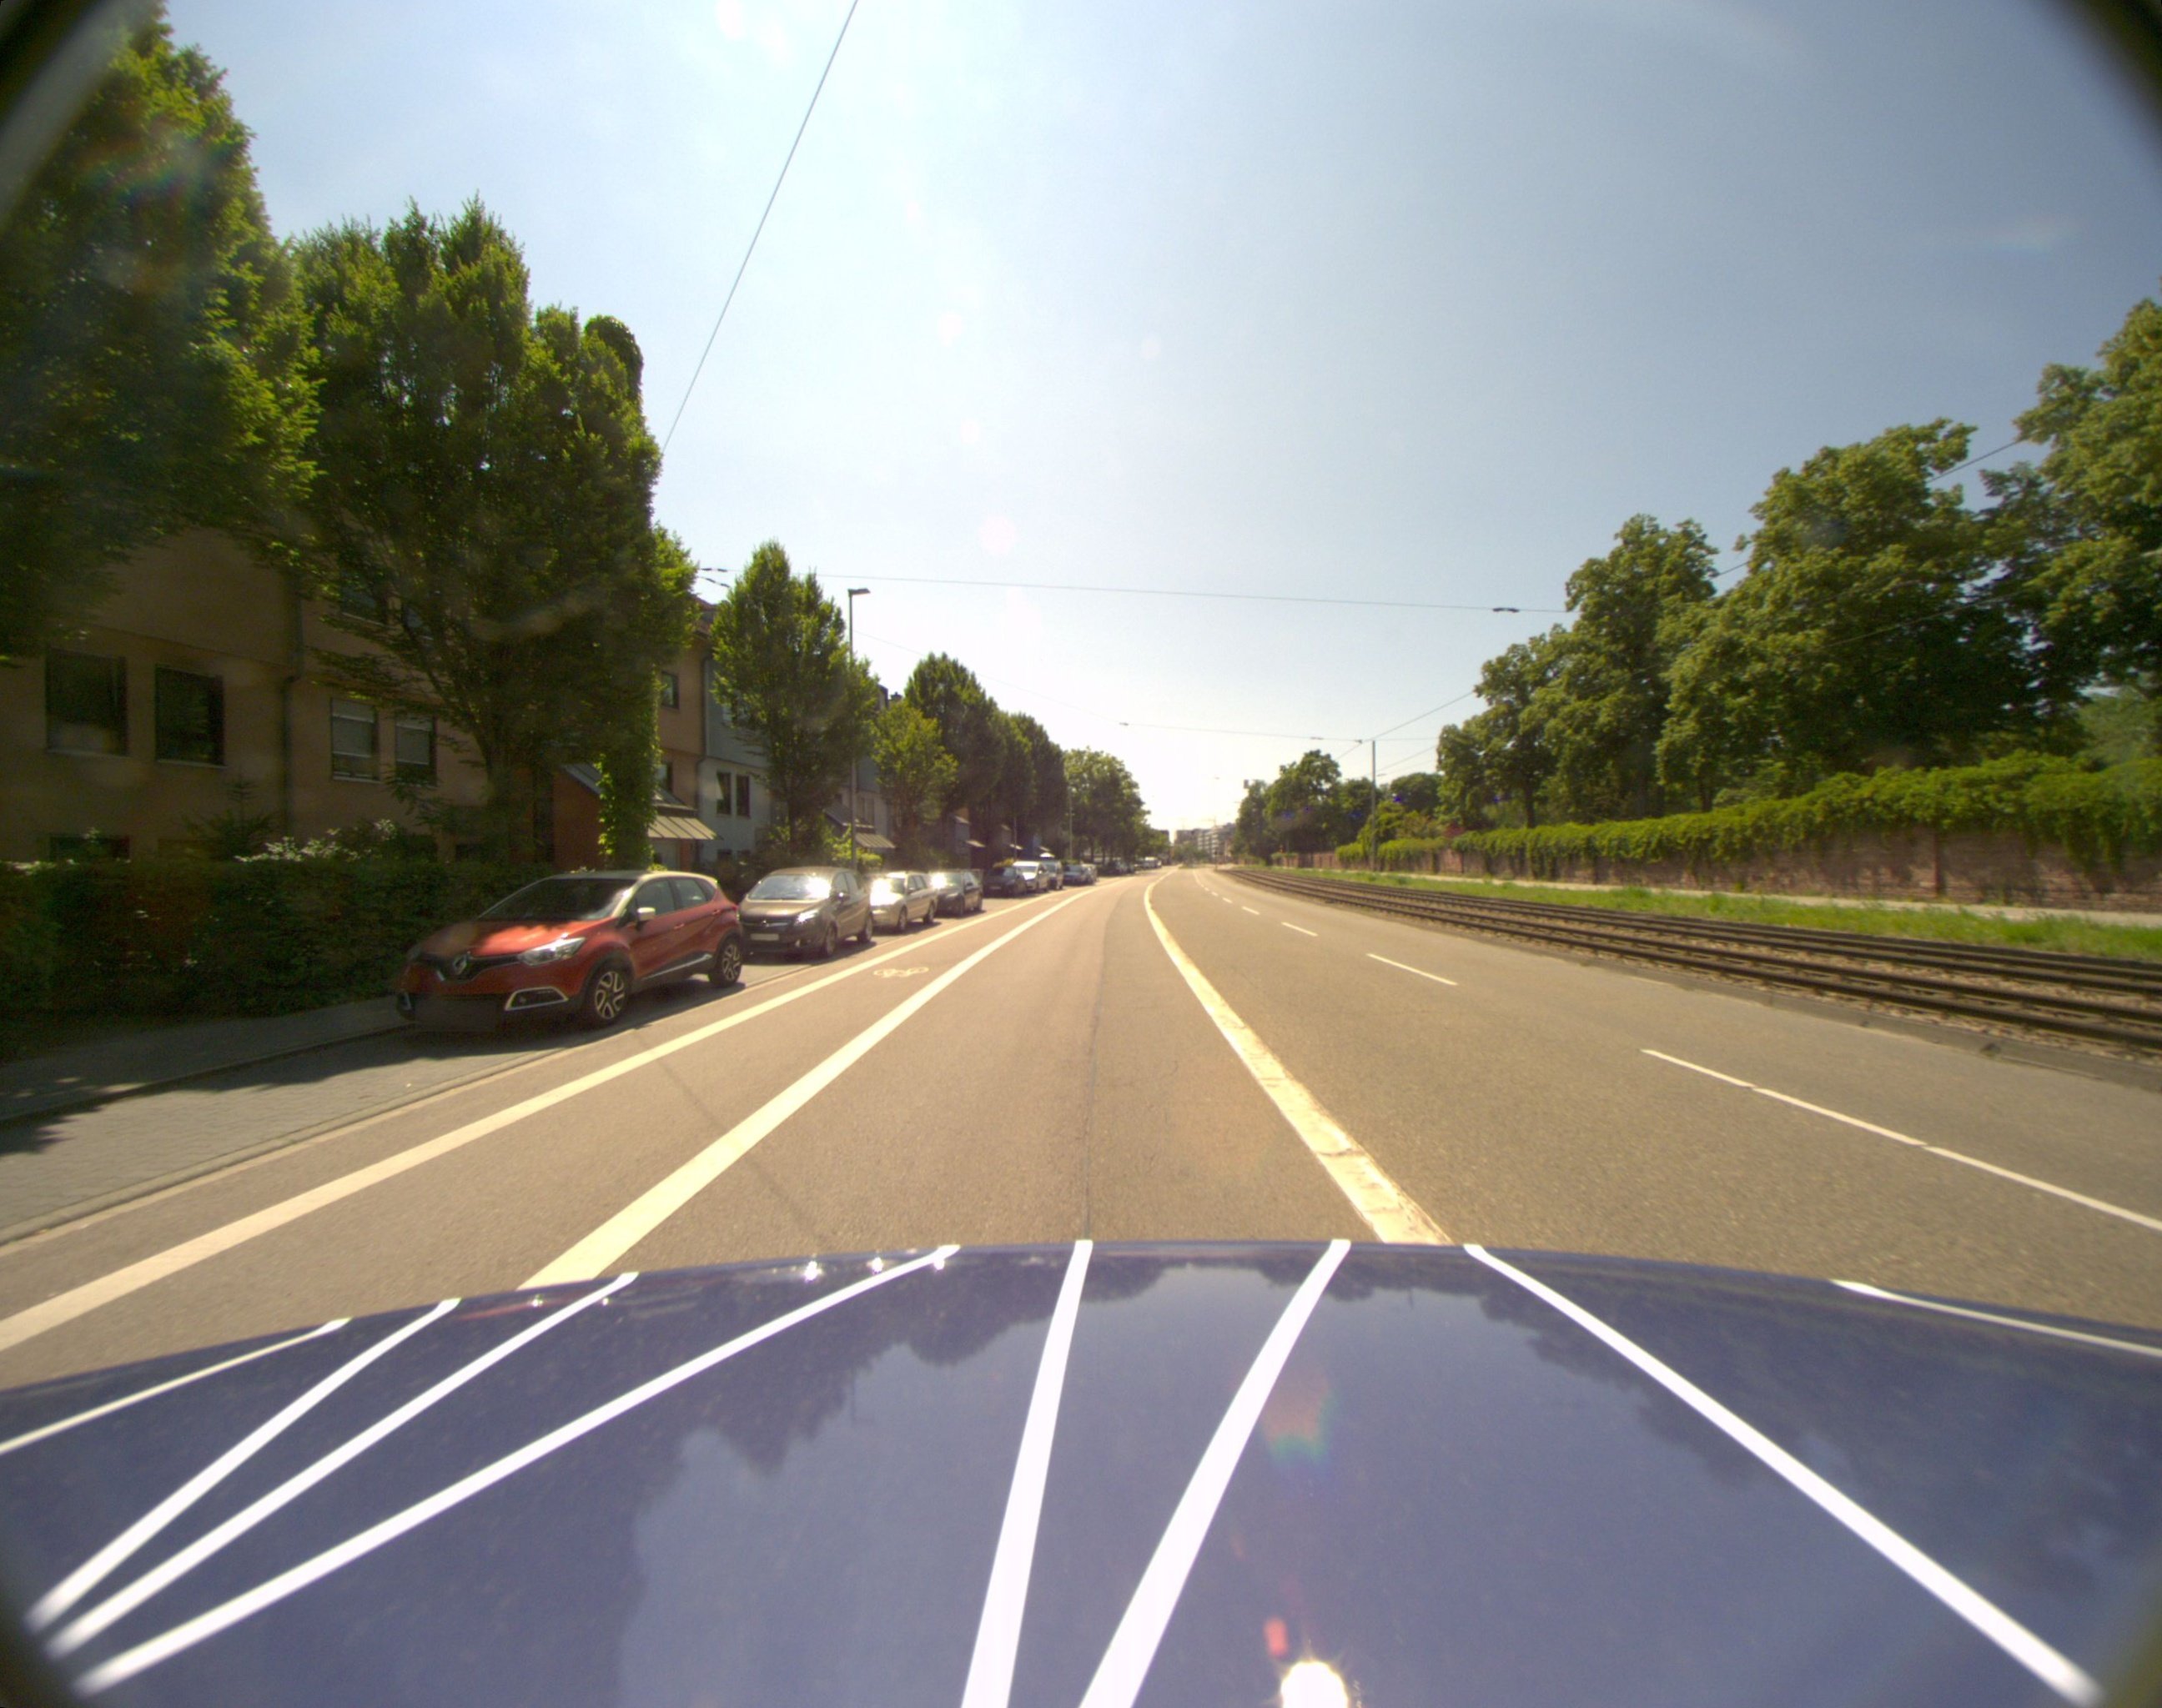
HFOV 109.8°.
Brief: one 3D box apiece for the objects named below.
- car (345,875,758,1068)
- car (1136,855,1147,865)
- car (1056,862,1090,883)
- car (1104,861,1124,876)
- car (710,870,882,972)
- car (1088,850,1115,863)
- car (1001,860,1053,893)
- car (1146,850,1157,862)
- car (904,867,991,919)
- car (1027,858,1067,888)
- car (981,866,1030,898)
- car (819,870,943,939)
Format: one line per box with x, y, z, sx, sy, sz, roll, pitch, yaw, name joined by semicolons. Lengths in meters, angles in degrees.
-5.542;1.088;8.795;1.711;1.553;4.324;1;0;1;car
11.089;1.107;138.817;1.715;1.623;4.711;1;1;8;car
-0.560;1.403;58.715;1.844;1.520;4.219;1;0;10;car
3.945;1.744;90.065;1.844;1.696;4.630;1;0;10;car
-5.210;1.134;14.552;1.711;1.553;4.323;1;0;-1;car
4.447;0.506;162.623;5.500;2.445;2.096;-4;0;9;car
-2.953;1.203;42.467;1.844;1.684;4.782;1;0;9;car
15.652;0.447;168.334;2.001;2.621;6.147;1;0;8;car
-4.414;1.249;25.941;1.710;1.484;5.040;1;0;4;car
-2.128;1.164;48.833;1.844;1.783;4.356;1;0;7;car
-3.639;1.321;37.291;1.587;1.415;4.182;1;0;6;car
-5.029;1.207;19.825;1.710;1.484;4.732;1;0;4;car
